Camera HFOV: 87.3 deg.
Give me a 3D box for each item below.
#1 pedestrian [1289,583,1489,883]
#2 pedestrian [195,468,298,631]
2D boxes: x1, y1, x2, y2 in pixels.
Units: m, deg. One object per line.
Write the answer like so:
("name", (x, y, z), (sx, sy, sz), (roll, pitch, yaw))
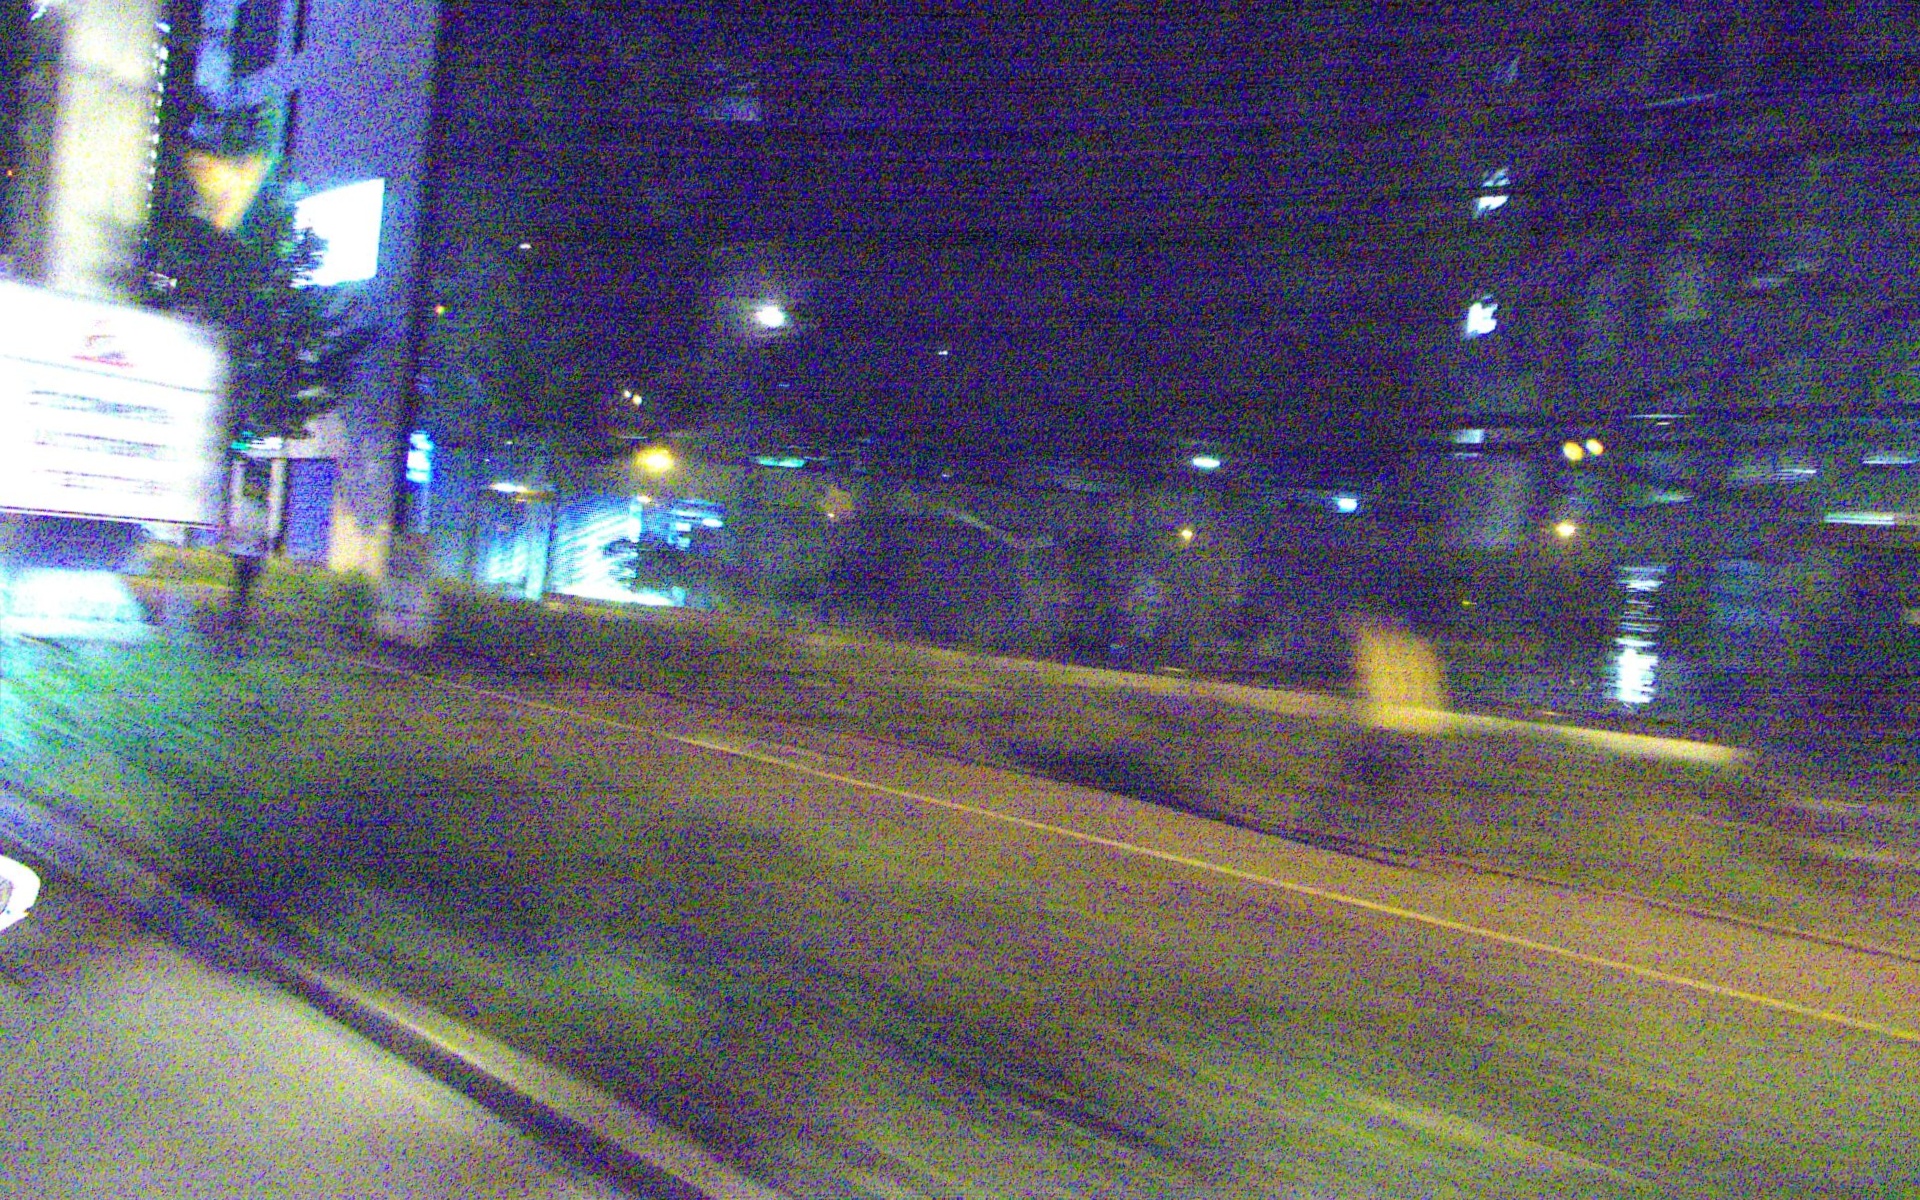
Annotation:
("pedestrian", (2.846, 0.828, 6.645), (0.941, 1.728, 0.854), (6, 0, 31))
("pedestrian", (-8.986, -0.628, 12.672), (0.782, 1.939, 0.803), (8, 3, 40))
